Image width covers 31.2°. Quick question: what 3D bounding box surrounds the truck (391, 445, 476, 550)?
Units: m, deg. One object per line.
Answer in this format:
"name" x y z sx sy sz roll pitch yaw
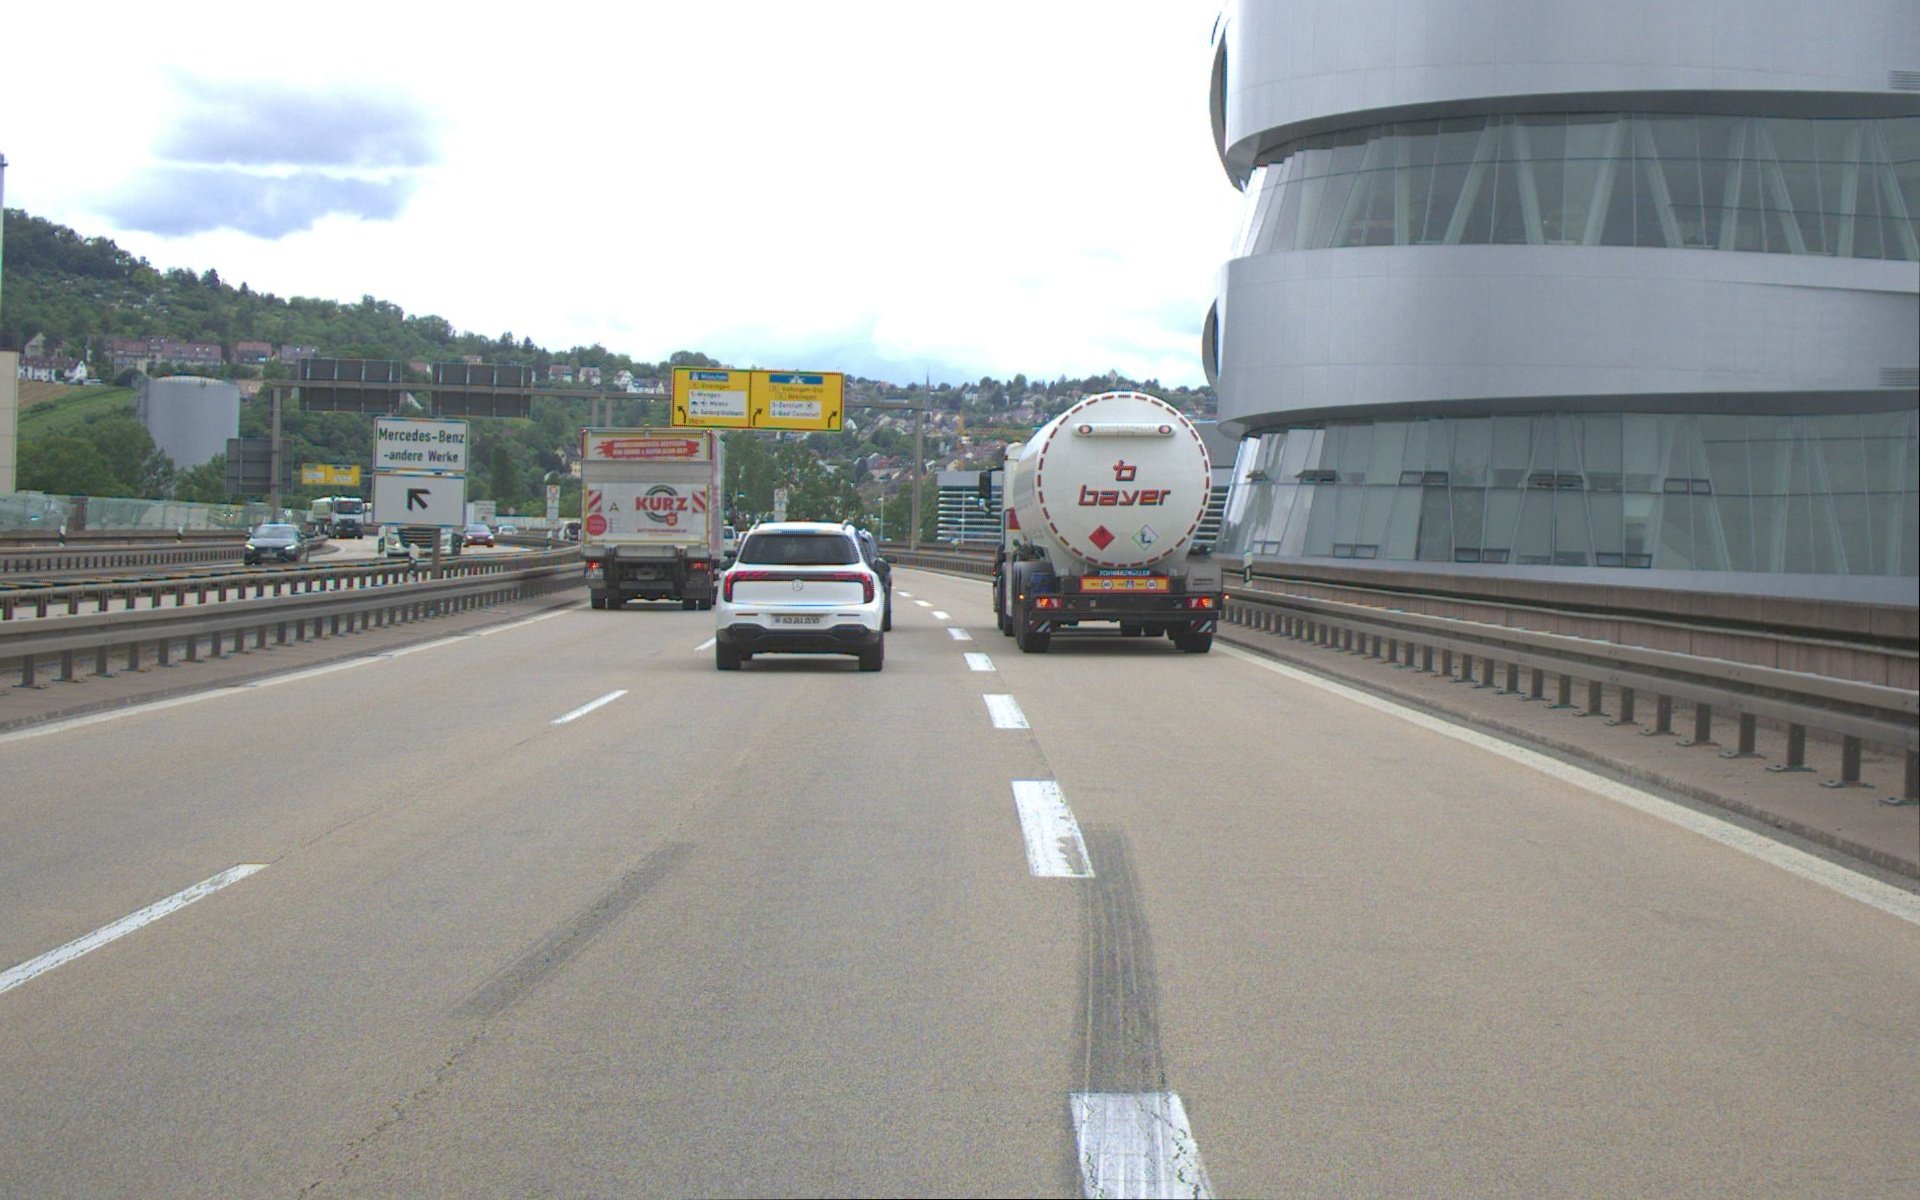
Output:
"truck" -21.056 -4.073 137.718 2.771 4.065 5.647 1 0 -3

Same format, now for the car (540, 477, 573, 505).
"car" -25.391 -6.845 216.327 1.993 1.601 4.808 1 0 -6

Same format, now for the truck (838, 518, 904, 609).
"truck" -4.596 -1.872 176.183 3.056 4.547 8.305 1 0 -4

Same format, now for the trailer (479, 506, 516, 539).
"trailer" -29.220 -4.887 217.126 1.993 2.007 4.001 1 0 -3

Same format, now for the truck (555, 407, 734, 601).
"truck" -6.330 -1.882 70.132 3.057 3.678 8.304 1 1 -1

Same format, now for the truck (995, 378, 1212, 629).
"truck" 2.135 -1.438 53.465 3.014 3.644 6.273 1 0 0

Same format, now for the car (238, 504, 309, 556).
"car" -22.778 -2.314 114.210 1.683 1.644 4.360 2 0 -3

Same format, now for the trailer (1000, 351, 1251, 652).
"trailer" 2.139 -1.285 47.684 3.057 3.777 8.304 1 1 0

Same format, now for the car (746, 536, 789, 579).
"car" -7.755 -1.694 138.479 1.683 1.644 4.360 2 0 -3

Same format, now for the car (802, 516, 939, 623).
"car" -1.431 -0.502 56.866 1.993 1.669 4.408 1 0 2

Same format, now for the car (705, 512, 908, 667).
"car" -1.711 -0.132 39.712 1.993 1.669 4.408 1 0 2
